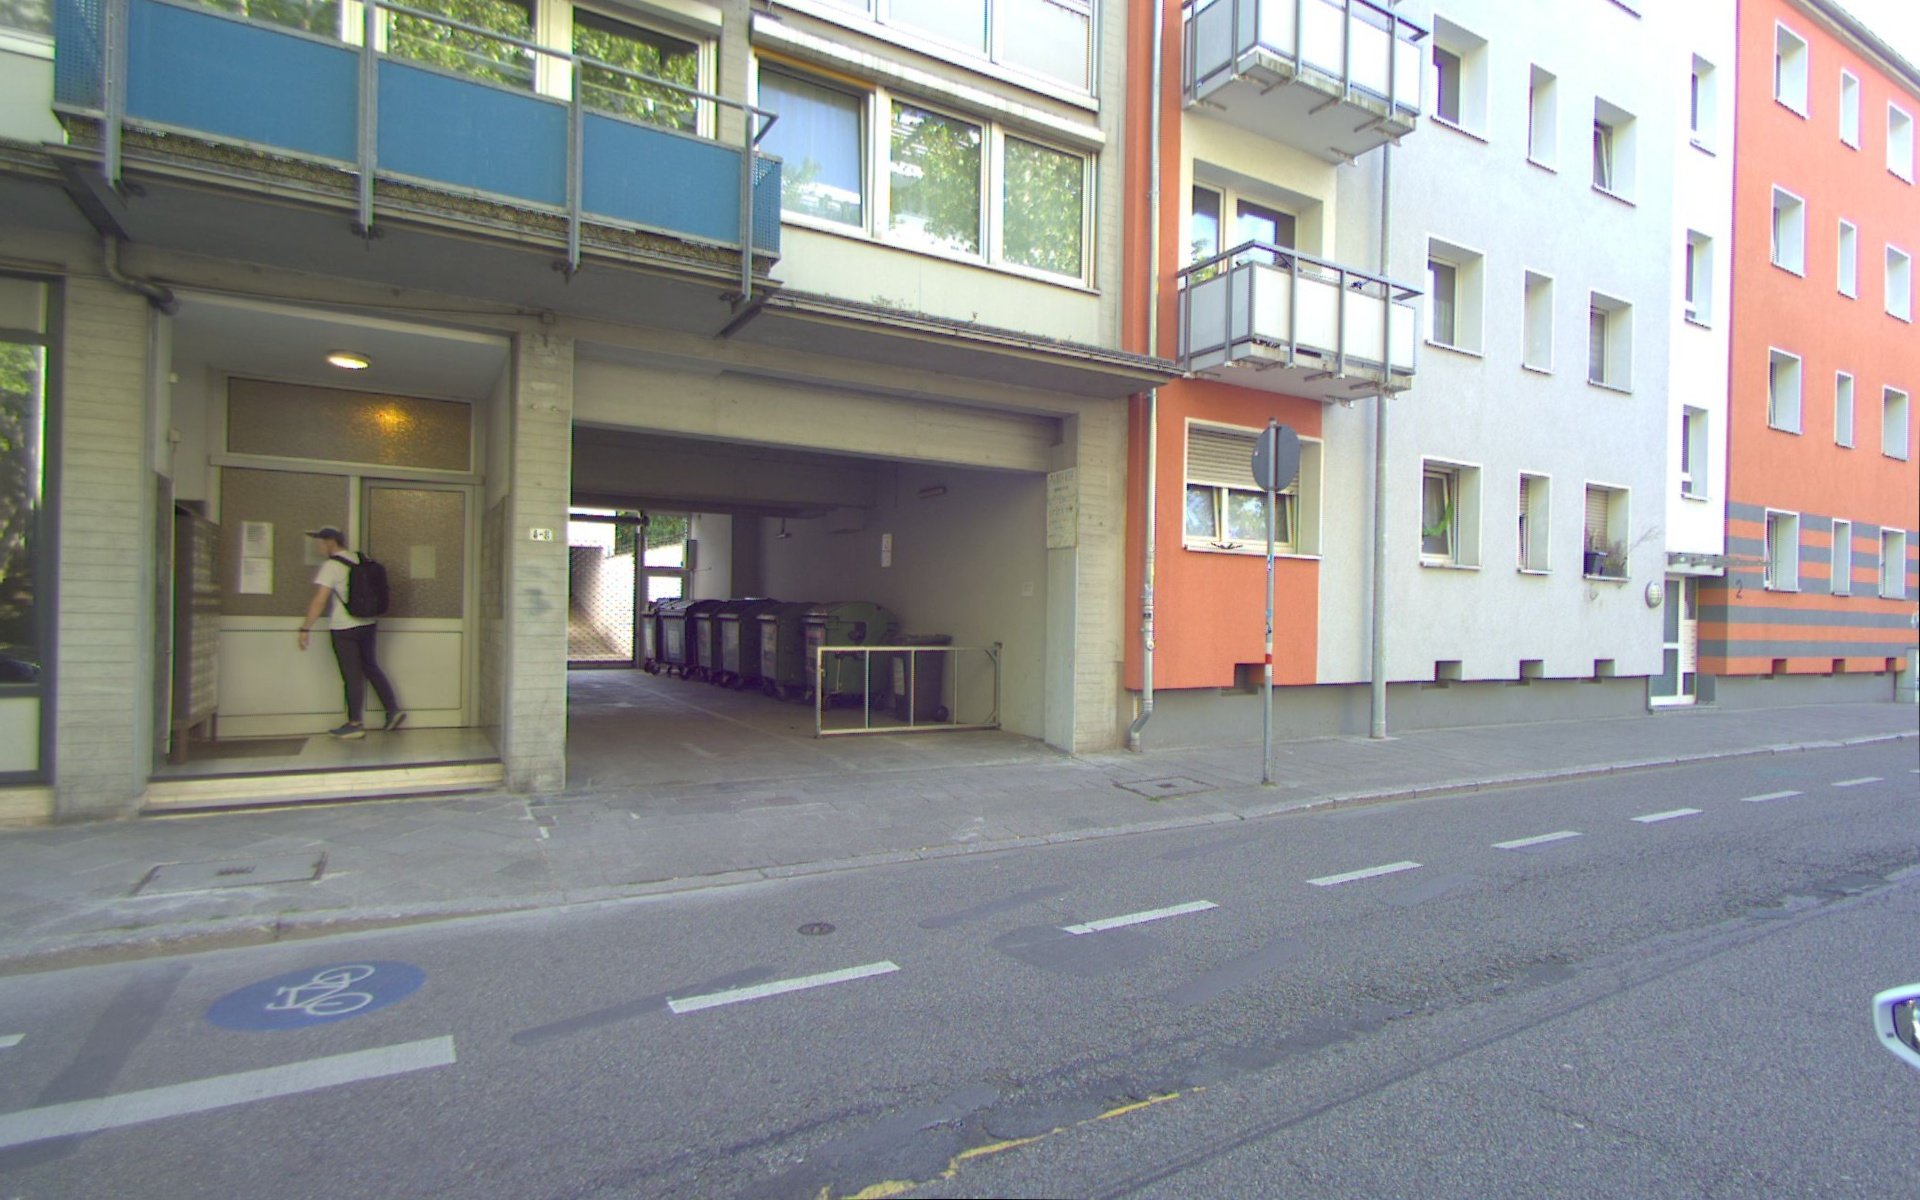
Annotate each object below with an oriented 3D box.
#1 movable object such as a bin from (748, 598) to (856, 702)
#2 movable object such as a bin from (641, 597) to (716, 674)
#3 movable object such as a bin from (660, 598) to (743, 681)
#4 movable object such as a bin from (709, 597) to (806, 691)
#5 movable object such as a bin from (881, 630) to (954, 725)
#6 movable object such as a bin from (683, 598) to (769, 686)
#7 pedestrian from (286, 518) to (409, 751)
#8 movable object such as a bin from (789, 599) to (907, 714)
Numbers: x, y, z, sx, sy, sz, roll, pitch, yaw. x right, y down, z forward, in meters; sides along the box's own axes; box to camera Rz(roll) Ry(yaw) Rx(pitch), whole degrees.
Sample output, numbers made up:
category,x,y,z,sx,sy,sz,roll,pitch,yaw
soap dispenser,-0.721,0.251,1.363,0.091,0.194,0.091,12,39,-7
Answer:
category,x,y,z,sx,sy,sz,roll,pitch,yaw
movable object such as a bin,-2.395,0.726,15.137,1.186,1.467,1.319,2,0,-30
movable object such as a bin,-5.607,0.690,19.984,1.186,1.467,1.027,2,0,-30
movable object such as a bin,-4.832,0.726,18.755,1.186,1.467,1.222,2,0,-30
movable object such as a bin,-3.361,0.704,16.621,1.186,1.467,1.319,2,0,-30
movable object such as a bin,-0.527,0.945,12.412,0.745,1.116,0.463,2,0,-30
movable object such as a bin,-4.132,0.724,17.712,1.186,1.467,1.114,2,0,-30
pedestrian,-5.227,0.288,8.619,0.775,1.904,0.578,2,0,-23
movable object such as a bin,-1.555,0.745,13.804,1.159,1.467,1.319,2,0,-30
